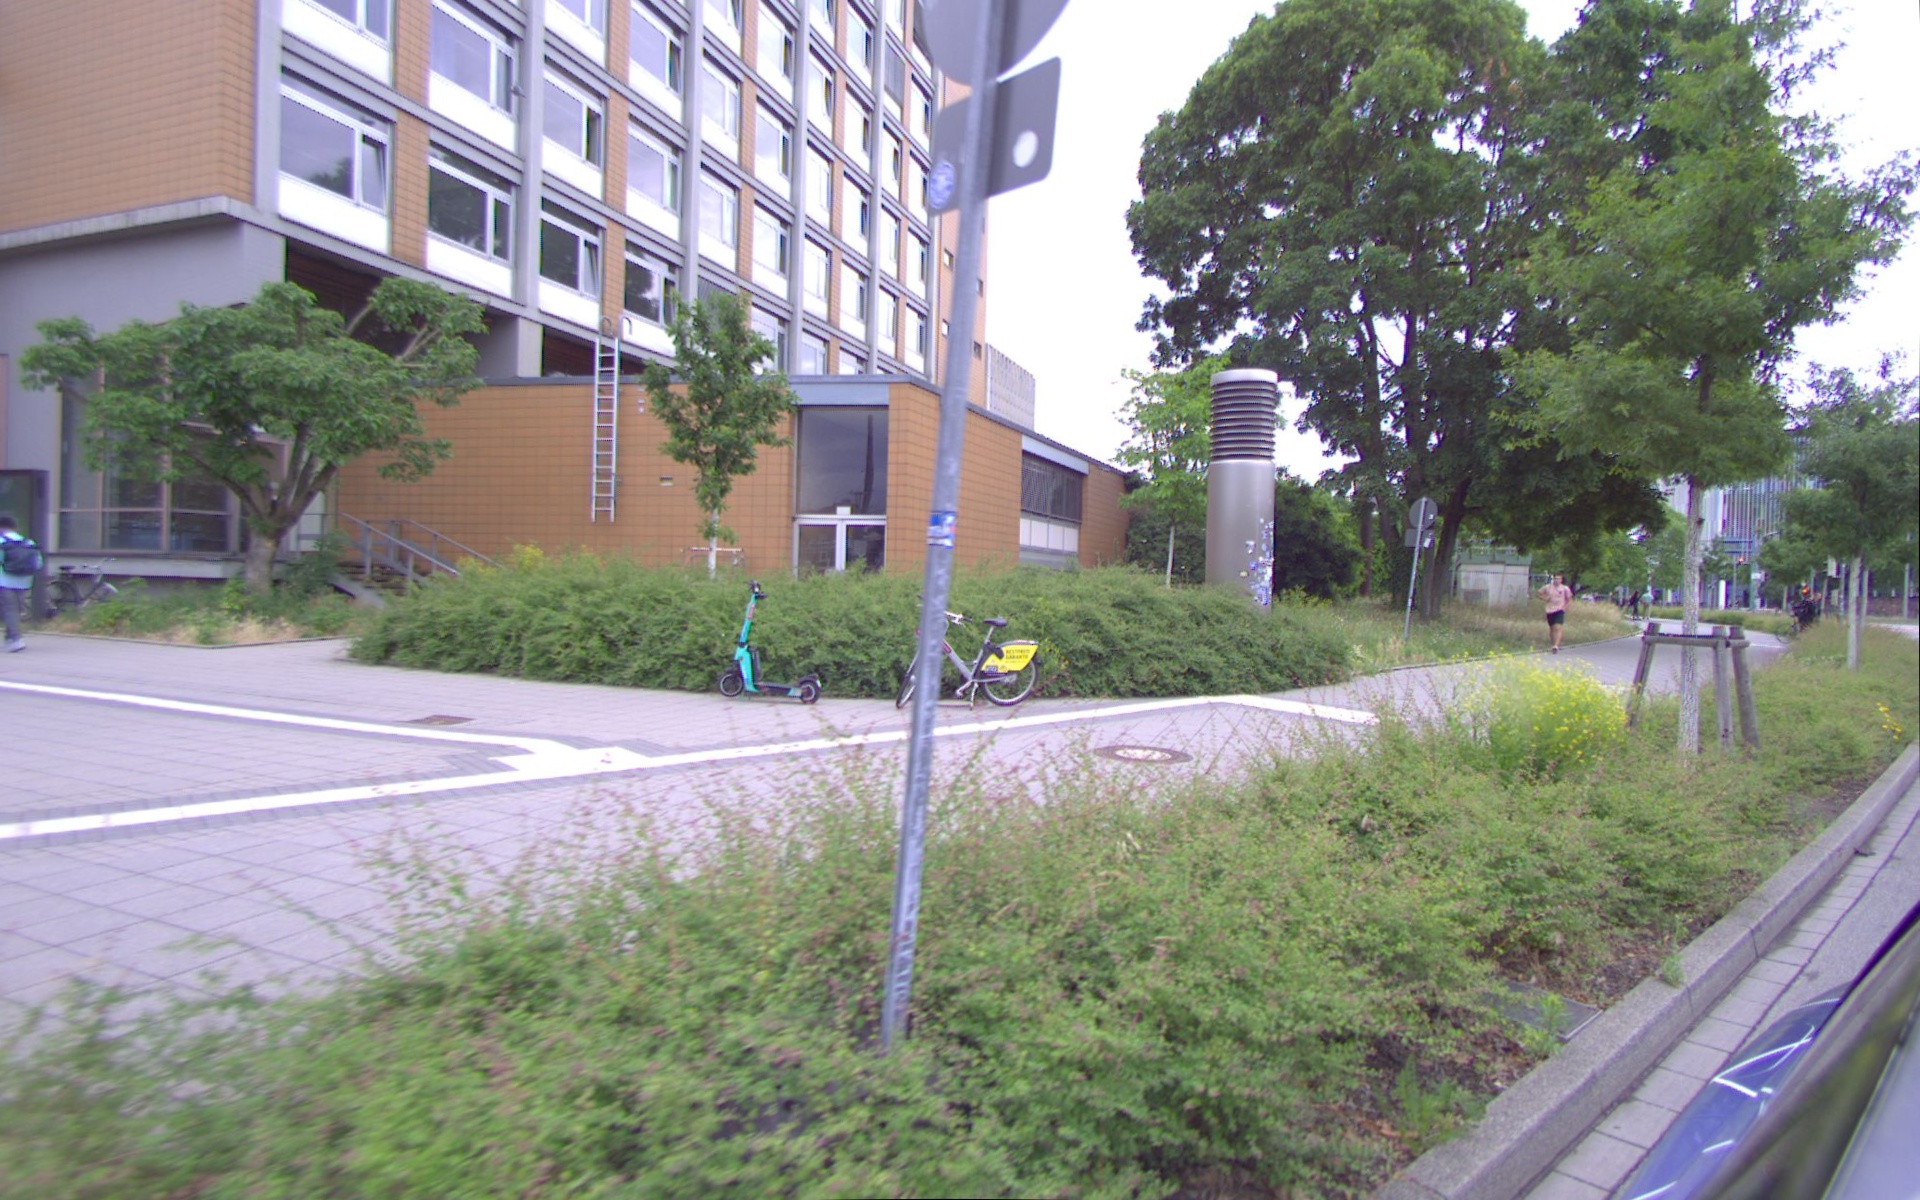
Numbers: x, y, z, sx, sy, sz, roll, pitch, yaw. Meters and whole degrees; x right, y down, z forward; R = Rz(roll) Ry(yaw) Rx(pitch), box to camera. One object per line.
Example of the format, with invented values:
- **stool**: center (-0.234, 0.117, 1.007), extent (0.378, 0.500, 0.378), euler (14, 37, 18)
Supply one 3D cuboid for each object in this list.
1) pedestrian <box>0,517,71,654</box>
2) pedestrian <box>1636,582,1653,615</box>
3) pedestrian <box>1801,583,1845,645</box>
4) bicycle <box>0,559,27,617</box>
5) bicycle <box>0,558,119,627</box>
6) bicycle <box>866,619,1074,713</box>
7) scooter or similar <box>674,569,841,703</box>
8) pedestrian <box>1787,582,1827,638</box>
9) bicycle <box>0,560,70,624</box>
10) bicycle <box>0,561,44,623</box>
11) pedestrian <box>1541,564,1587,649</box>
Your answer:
- **pedestrian**: center (-12.477, -0.202, 13.462), extent (0.866, 1.758, 0.717), euler (1, 1, 28)
- **pedestrian**: center (39.034, -0.109, 57.717), extent (0.592, 1.822, 0.514), euler (4, 3, 28)
- **pedestrian**: center (26.645, 0.429, 31.255), extent (0.708, 1.822, 0.597), euler (3, 3, 4)
- **bicycle**: center (-19.309, -0.233, 19.269), extent (0.818, 1.137, 2.376), euler (0, 0, 3)
- **bicycle**: center (-16.228, -0.137, 17.855), extent (0.818, 1.137, 2.378), euler (0, 0, 0)
- **bicycle**: center (0.118, 0.635, 10.182), extent (2.030, 0.859, 0.559), euler (1, 1, -24)
- **scooter or similar**: center (-2.100, 0.346, 10.512), extent (1.584, 1.306, 0.690), euler (0, 0, 20)
- **pedestrian**: center (28.583, 0.330, 34.162), extent (0.708, 1.822, 0.597), euler (3, 3, 4)
- **bicycle**: center (-17.274, -0.142, 17.930), extent (0.818, 1.137, 2.376), euler (0, 0, 3)
- **bicycle**: center (-18.310, -0.150, 18.551), extent (0.818, 1.137, 2.376), euler (0, 0, 3)
- **pedestrian**: center (13.551, 0.137, 22.722), extent (0.587, 1.822, 0.630), euler (1, 4, -43)
